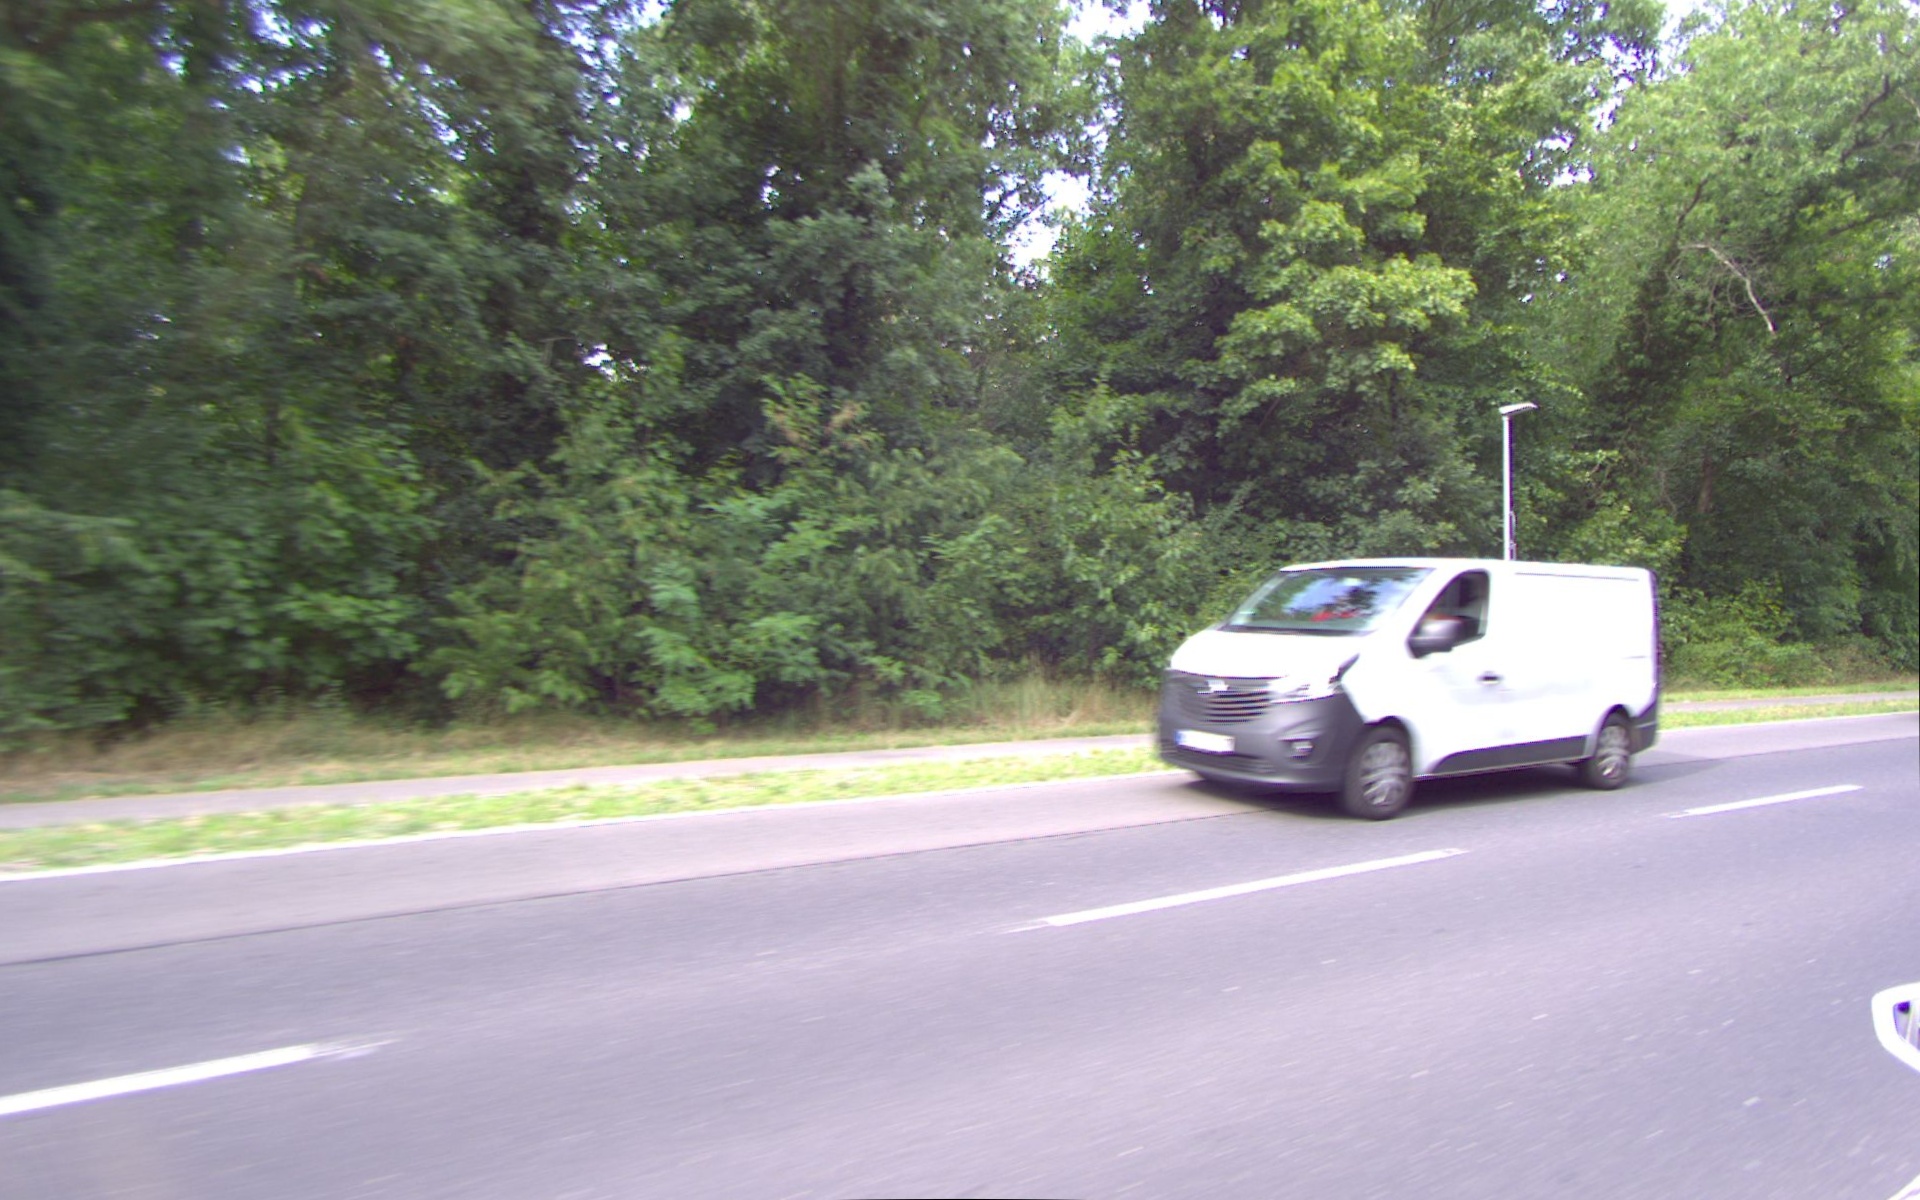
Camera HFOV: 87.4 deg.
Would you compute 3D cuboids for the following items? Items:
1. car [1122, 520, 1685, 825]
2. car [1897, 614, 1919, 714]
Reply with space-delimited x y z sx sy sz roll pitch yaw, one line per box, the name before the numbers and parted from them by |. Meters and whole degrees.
car | 4.022 0.582 8.839 4.994 2.040 1.984 2 -2 -30
car | 17.440 1.093 16.348 4.463 1.578 1.877 2 -1 -28
